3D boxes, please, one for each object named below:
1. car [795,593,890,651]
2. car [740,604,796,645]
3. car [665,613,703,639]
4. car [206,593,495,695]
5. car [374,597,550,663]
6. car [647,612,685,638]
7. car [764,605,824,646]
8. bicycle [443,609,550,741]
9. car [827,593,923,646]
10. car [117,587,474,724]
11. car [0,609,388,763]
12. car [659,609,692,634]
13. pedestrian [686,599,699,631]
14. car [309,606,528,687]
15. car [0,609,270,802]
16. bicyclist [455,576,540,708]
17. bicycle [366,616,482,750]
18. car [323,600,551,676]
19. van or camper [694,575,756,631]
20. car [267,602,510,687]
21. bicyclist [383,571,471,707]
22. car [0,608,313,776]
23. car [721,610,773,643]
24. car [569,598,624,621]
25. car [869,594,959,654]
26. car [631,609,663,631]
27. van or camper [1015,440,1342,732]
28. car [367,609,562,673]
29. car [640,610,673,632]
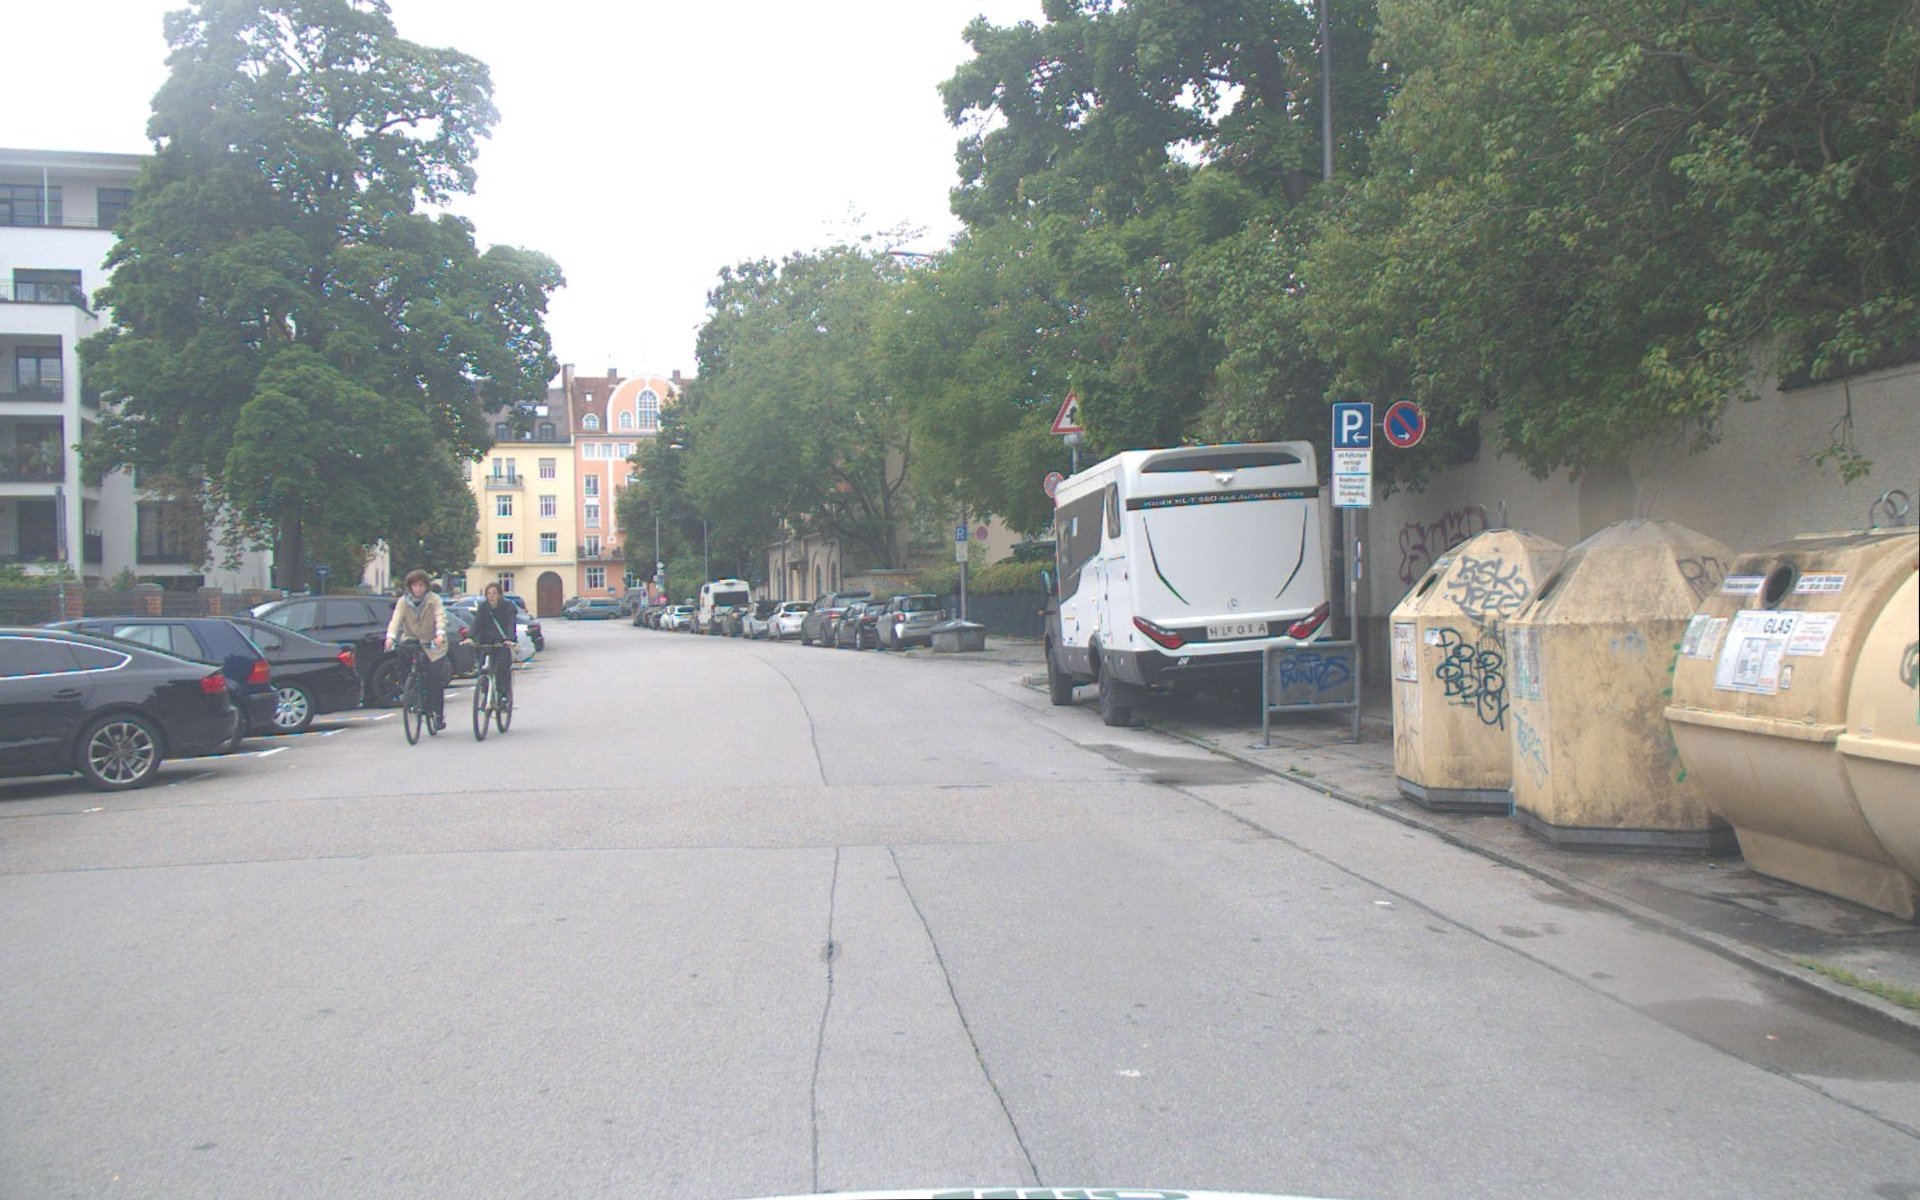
[{"bbox_3d":[-3.961,0.735,55.034,1.963,1.741,4.858,-3,0,-18],"label":"car"},{"bbox_3d":[-8.059,1.009,69.114,1.679,1.564,4.222,-3,0,-15],"label":"car"},{"bbox_3d":[-16.534,1.541,98.806,1.680,1.432,4.110,-3,0,-17],"label":"car"},{"bbox_3d":[-10.778,0.735,29.405,4.481,1.595,1.864,-2,0,-38],"label":"car"},{"bbox_3d":[-14.267,0.834,47.564,2.098,1.729,4.387,-2,-1,41],"label":"car"},{"bbox_3d":[-19.162,1.582,107.616,1.776,1.491,3.816,-2,2,-19],"label":"car"},{"bbox_3d":[-6.473,0.992,64.247,1.658,1.466,3.983,-2,-1,-15],"label":"car"},{"bbox_3d":[-5.017,0.780,18.042,0.693,1.328,2.116,-1,0,-4],"label":"bicycle"},{"bbox_3d":[-2.638,0.593,50.607,1.848,1.452,4.199,-3,0,-18],"label":"car"},{"bbox_3d":[-9.646,0.760,24.146,4.478,1.694,1.962,-3,0,-36],"label":"car"},{"bbox_3d":[-9.314,0.950,19.509,4.478,1.442,1.903,-3,0,-36],"label":"car"},{"bbox_3d":[-17.835,1.328,103.555,1.679,1.491,3.822,-2,0,-15],"label":"car"},{"bbox_3d":[-17.689,0.987,109.322,0.761,2.049,0.560,-1,-1,-18],"label":"pedestrian"},{"bbox_3d":[-12.682,1.071,38.869,4.476,1.536,1.903,-4,1,-41],"label":"car"},{"bbox_3d":[-8.463,0.921,14.094,4.472,1.476,1.954,-3,0,-34],"label":"car"},{"bbox_3d":[-5.024,0.445,18.015,0.683,1.376,0.929,-1,0,-4],"label":"bicyclist"},{"bbox_3d":[-5.772,0.855,17.923,0.693,1.328,2.116,-1,0,-5],"label":"bicycle"},{"bbox_3d":[-11.575,0.828,36.779,4.475,1.476,1.869,-2,0,-41],"label":"car"},{"bbox_3d":[-11.584,0.172,81.228,2.157,2.594,5.702,-3,0,-16],"label":"van or camper"},{"bbox_3d":[-11.490,0.862,33.403,4.350,1.476,1.635,-2,0,-38],"label":"car"},{"bbox_3d":[-5.779,0.414,17.969,0.683,1.422,0.929,-1,0,-5],"label":"bicyclist"},{"bbox_3d":[-9.170,0.937,16.845,4.478,1.476,1.797,-3,0,-36],"label":"car"},{"bbox_3d":[-9.662,1.187,74.653,1.679,1.393,4.421,-3,0,-16],"label":"car"},{"bbox_3d":[-32.065,0.821,145.911,4.630,1.913,1.831,-1,-1,-18],"label":"car"},{"bbox_3d":[-1.342,0.689,46.691,1.713,1.563,2.930,-3,-1,-19],"label":"car"},{"bbox_3d":[-22.253,1.386,117.456,1.645,1.367,3.817,-2,2,-19],"label":"car"},{"bbox_3d":[2.388,-0.144,20.657,2.229,2.957,7.264,-1,0,-7],"label":"van or camper"},{"bbox_3d":[-12.579,1.028,42.162,1.931,1.464,4.384,-2,-1,43],"label":"car"},{"bbox_3d":[-20.694,1.418,112.807,1.645,1.367,3.817,-2,2,-19],"label":"car"}]
